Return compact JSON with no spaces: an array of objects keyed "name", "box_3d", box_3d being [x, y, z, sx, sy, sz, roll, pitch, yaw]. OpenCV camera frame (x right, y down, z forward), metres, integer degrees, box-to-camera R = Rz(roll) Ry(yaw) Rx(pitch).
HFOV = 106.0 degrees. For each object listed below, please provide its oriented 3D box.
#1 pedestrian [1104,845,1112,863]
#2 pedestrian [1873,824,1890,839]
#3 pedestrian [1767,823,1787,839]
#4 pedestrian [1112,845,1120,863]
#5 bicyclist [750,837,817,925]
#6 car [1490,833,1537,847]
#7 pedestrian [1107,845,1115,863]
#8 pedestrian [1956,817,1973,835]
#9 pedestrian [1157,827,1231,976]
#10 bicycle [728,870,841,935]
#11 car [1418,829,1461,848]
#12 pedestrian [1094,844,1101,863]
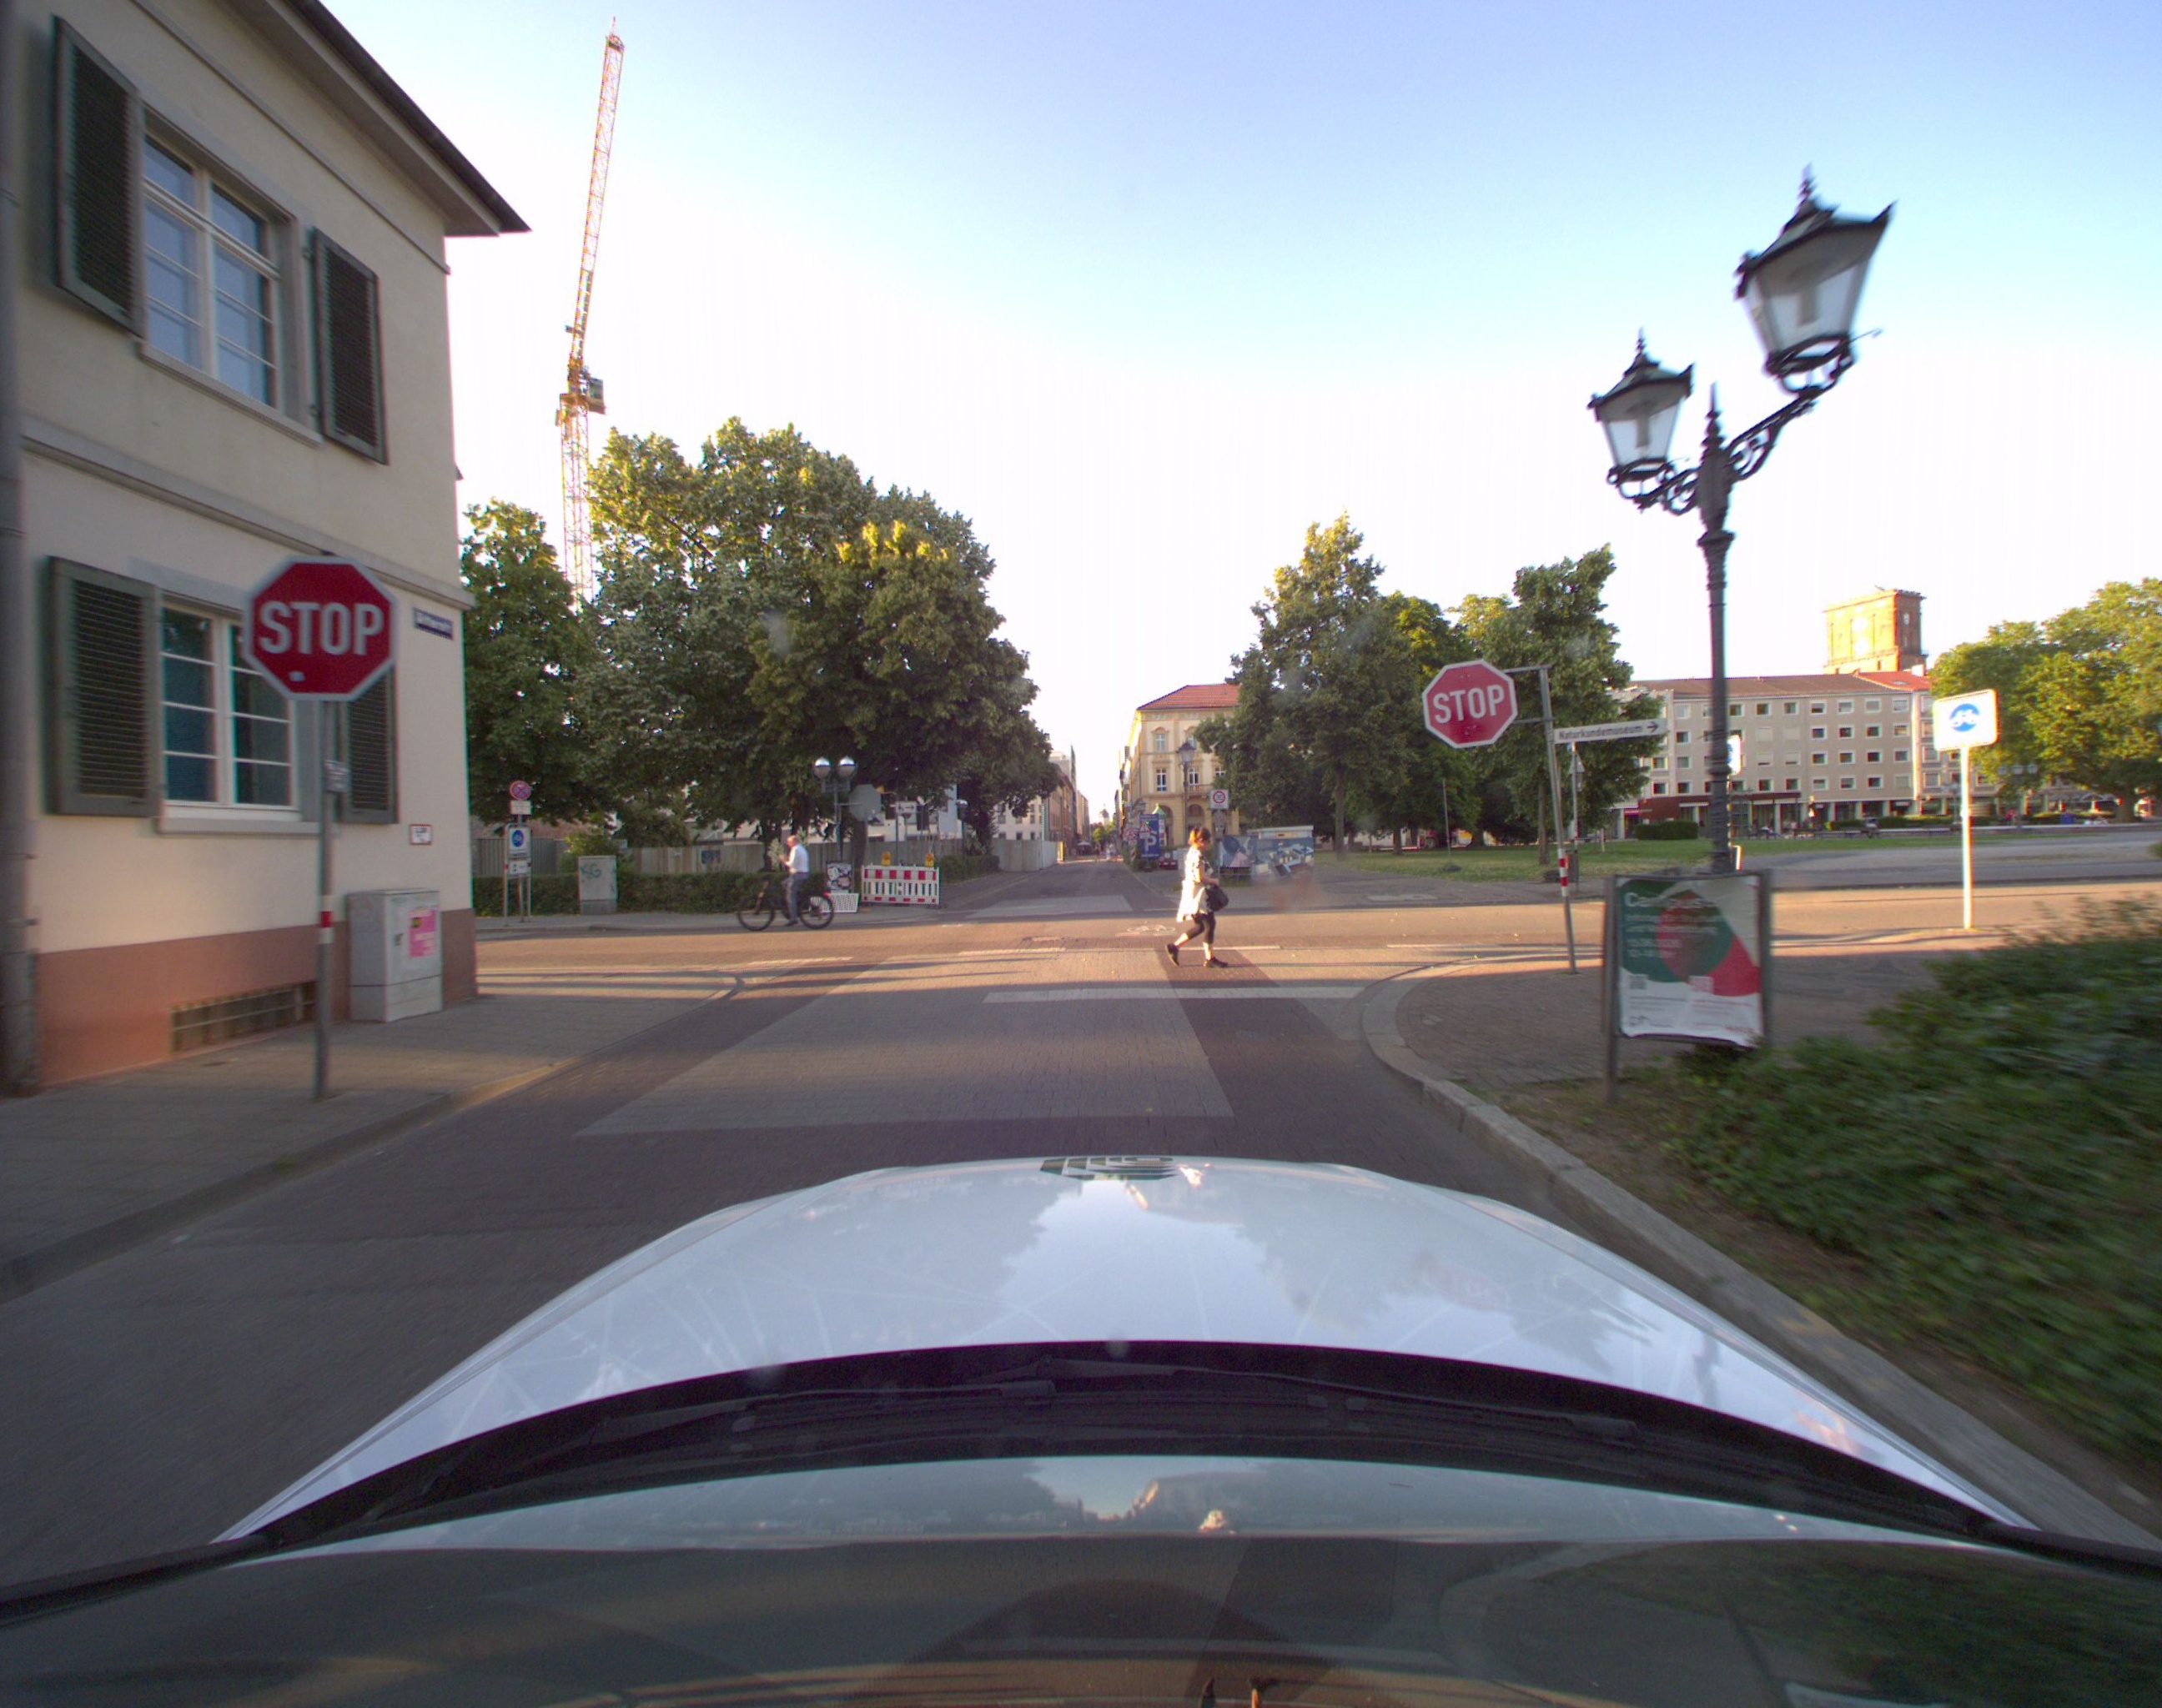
[{"name":"pedestrian","box_3d":[2.498,-0.012,75.867,0.655,1.617,0.745,-2,0,2]},{"name":"pedestrian","box_3d":[50.966,-1.424,51.854,0.512,0.924,0.616,-2,0,-24]},{"name":"pedestrian","box_3d":[50.731,-1.661,59.380,0.889,1.077,0.624,-2,0,19]},{"name":"pedestrian","box_3d":[3.226,0.017,75.893,0.655,1.617,0.745,-2,0,2]},{"name":"bicyclist","box_3d":[-5.740,0.507,15.766,1.060,1.633,0.594,-2,0,-8]},{"name":"car","box_3d":[42.703,-1.373,80.427,3.568,1.240,1.997,-2,0,-5]},{"name":"pedestrian","box_3d":[2.858,0.011,77.280,0.655,1.635,0.745,-2,0,2]},{"name":"pedestrian","box_3d":[52.610,-1.665,48.482,0.514,1.077,0.614,-2,0,-38]},{"name":"pedestrian","box_3d":[1.334,0.541,9.766,0.731,1.689,0.836,-2,0,1]},{"name":"bicycle","box_3d":[-5.706,0.920,15.751,1.926,1.121,0.594,-2,0,-8]},{"name":"car","box_3d":[40.679,-1.745,92.515,4.015,2.013,2.002,-2,0,2]},{"name":"pedestrian","box_3d":[1.557,-0.075,77.171,0.655,1.759,0.745,-2,0,2]}]
